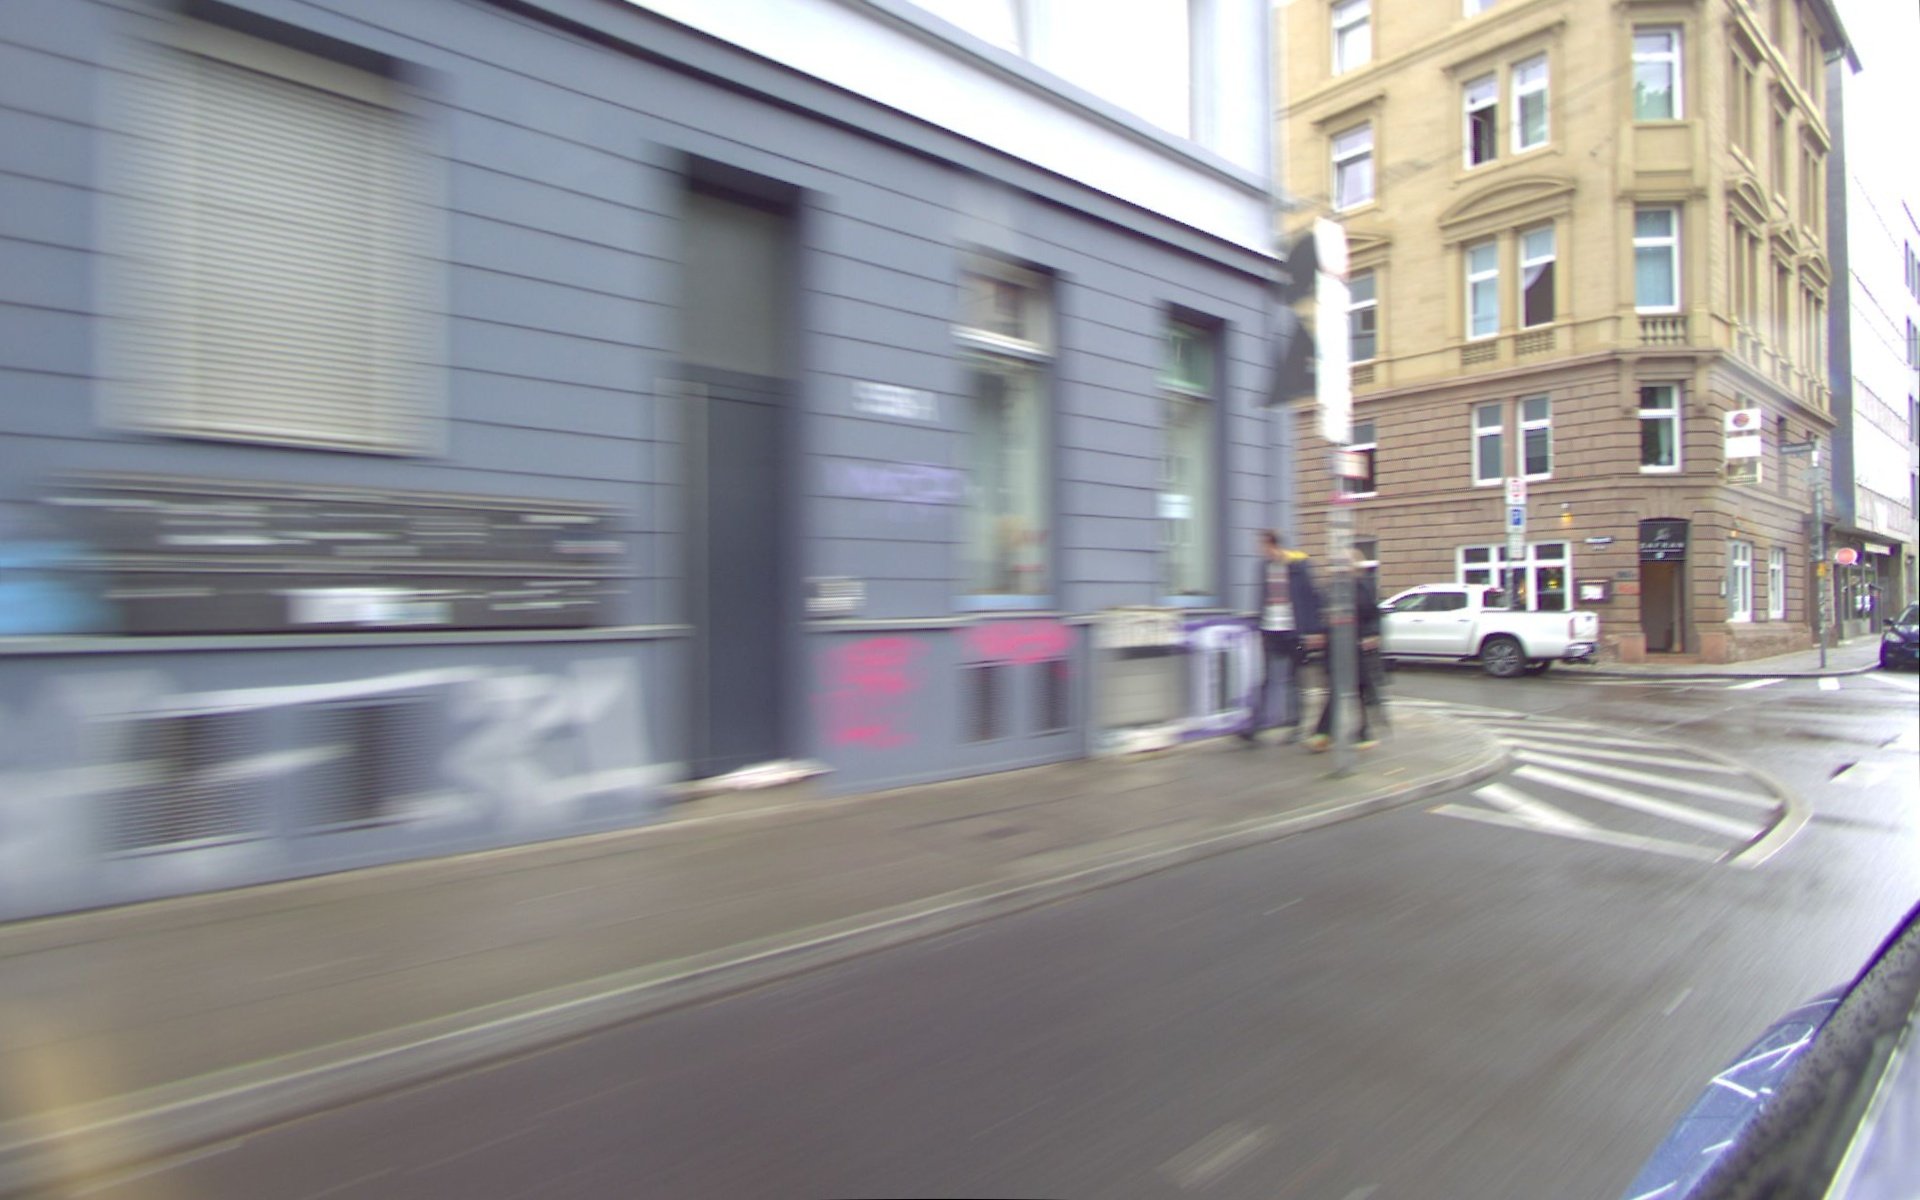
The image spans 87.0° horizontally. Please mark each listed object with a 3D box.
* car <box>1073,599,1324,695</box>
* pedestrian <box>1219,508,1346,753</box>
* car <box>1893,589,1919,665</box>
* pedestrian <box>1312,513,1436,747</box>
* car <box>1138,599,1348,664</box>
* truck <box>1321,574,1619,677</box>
[{"bbox_3d":[3.962,0.708,17.345,1.754,1.449,3.997,0,0,-38],"label":"car"},{"bbox_3d":[2.862,0.260,8.981,0.806,2.039,0.737,1,-2,-41],"label":"pedestrian"},{"bbox_3d":[21.507,0.549,21.644,4.182,1.535,1.724,0,-1,-40],"label":"car"},{"bbox_3d":[3.532,0.243,8.629,0.806,1.876,0.663,1,-2,-41],"label":"pedestrian"},{"bbox_3d":[6.777,0.699,24.650,2.058,1.425,4.565,0,0,-42],"label":"car"},{"bbox_3d":[10.268,0.452,20.716,2.049,1.841,5.064,0,0,-43],"label":"truck"}]
